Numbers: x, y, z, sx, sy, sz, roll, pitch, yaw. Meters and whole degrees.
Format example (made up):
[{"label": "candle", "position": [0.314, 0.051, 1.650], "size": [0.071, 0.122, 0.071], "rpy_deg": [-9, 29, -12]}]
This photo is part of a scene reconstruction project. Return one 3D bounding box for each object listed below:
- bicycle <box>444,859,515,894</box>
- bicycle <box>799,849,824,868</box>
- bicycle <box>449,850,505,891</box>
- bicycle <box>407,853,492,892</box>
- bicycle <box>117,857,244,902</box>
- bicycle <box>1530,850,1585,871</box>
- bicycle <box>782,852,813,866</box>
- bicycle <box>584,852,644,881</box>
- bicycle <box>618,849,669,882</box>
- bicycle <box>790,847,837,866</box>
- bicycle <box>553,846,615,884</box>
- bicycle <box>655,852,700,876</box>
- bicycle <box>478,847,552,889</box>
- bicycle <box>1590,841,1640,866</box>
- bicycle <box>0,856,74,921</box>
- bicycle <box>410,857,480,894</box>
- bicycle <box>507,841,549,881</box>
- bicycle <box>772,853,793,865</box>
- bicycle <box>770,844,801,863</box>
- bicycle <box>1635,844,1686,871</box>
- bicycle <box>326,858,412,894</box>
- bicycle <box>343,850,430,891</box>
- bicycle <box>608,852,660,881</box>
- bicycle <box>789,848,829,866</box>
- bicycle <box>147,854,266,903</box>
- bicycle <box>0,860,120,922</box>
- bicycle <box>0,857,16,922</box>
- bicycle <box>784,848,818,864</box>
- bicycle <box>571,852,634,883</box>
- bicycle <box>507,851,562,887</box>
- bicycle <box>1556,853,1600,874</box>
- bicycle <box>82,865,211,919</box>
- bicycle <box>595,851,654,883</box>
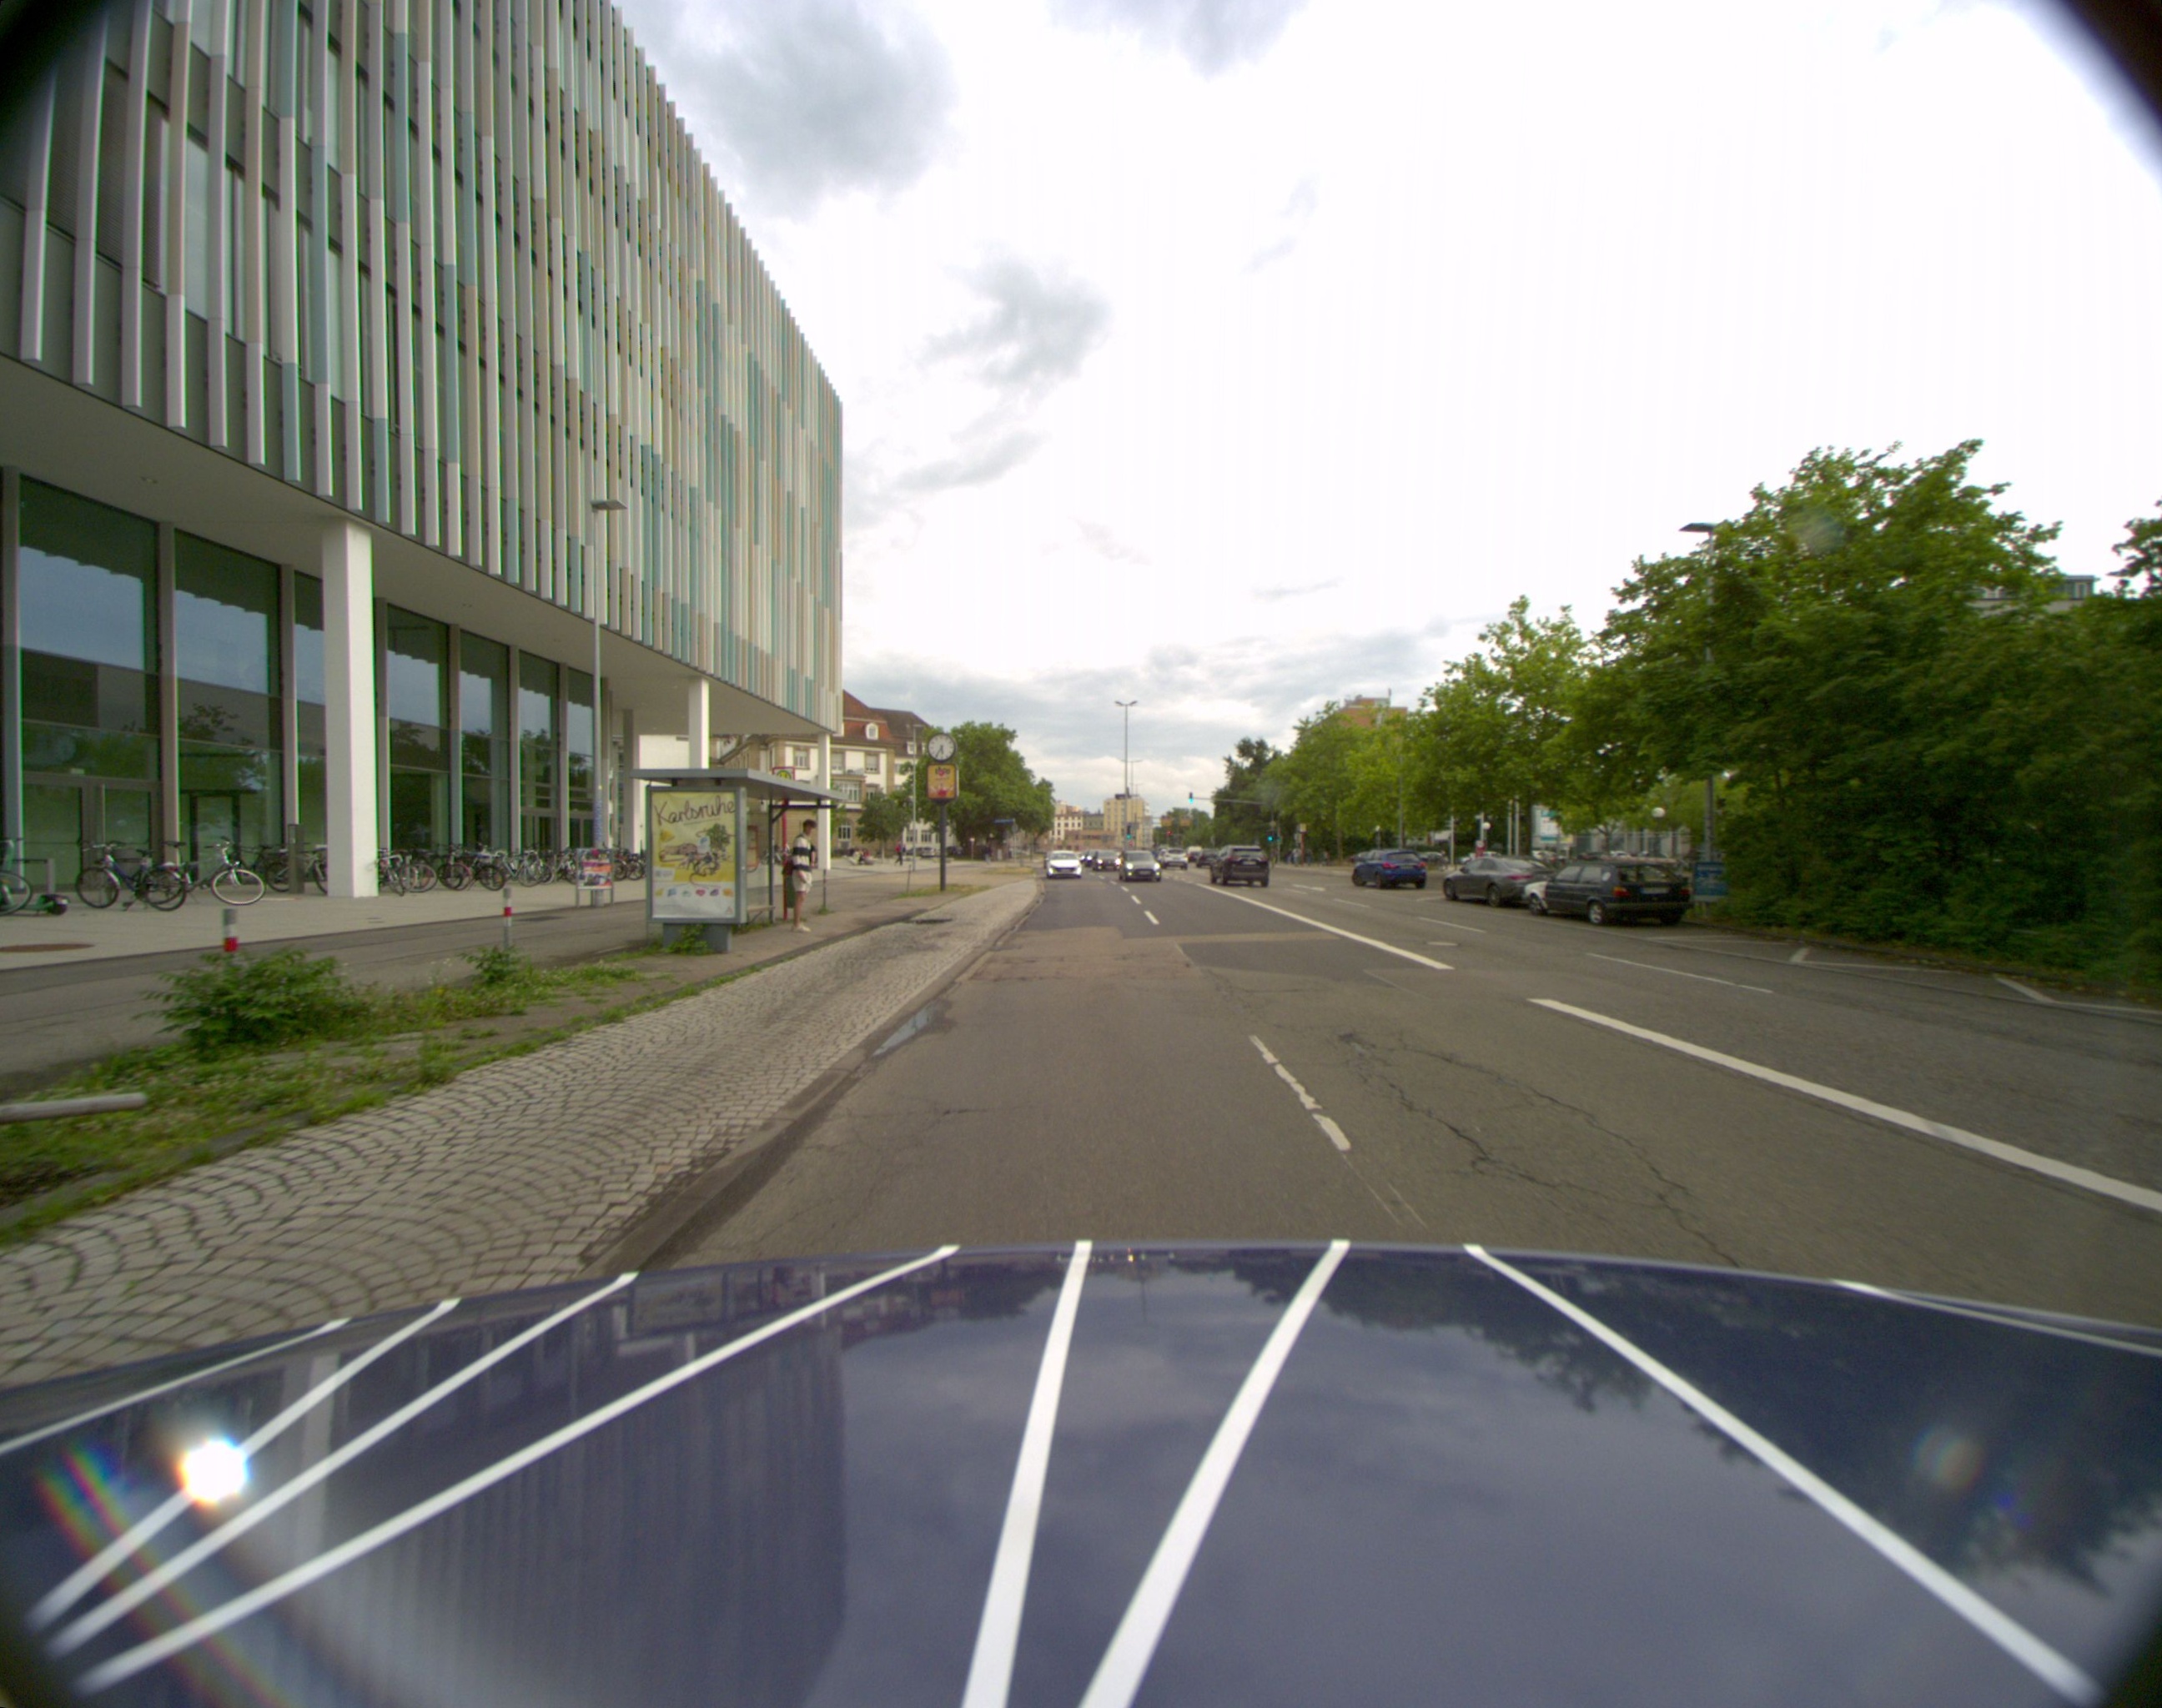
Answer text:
[{"label": "bicycle", "position": [-15.944, 0.598, 20.166], "size": [1.610, 0.891, 0.366], "rpy_deg": [0, 1, 2]}, {"label": "bicycle", "position": [-15.806, 0.244, 44.614], "size": [0.640, 1.055, 1.841], "rpy_deg": [-2, 1, 6]}, {"label": "bicycle", "position": [-15.902, 0.434, 20.018], "size": [1.200, 1.044, 0.434], "rpy_deg": [1, 1, 8]}, {"label": "bicycle", "position": [-15.106, 0.437, 18.191], "size": [1.610, 0.870, 0.556], "rpy_deg": [1, 1, 2]}, {"label": "bicycle", "position": [-15.548, 0.436, 13.140], "size": [1.564, 0.712, 0.556], "rpy_deg": [1, 1, 2]}, {"label": "bicycle", "position": [27.249, 0.378, 43.471], "size": [2.754, 1.168, 0.721], "rpy_deg": [0, 1, -3]}, {"label": "bicycle", "position": [-18.978, 0.328, 50.888], "size": [0.670, 0.893, 1.850], "rpy_deg": [1, 1, 42]}, {"label": "bicycle", "position": [-15.211, 0.410, 24.778], "size": [1.610, 0.870, 0.556], "rpy_deg": [2, 1, 2]}, {"label": "bicycle", "position": [-14.929, 0.389, 25.939], "size": [1.403, 1.037, 0.559], "rpy_deg": [2, 1, 2]}, {"label": "bicycle", "position": [-16.967, 0.162, 48.187], "size": [2.725, 1.181, 0.772], "rpy_deg": [0, 1, -41]}, {"label": "bicycle", "position": [-15.550, 0.325, 23.798], "size": [1.647, 1.085, 0.572], "rpy_deg": [3, 1, 10]}, {"label": "bicycle", "position": [-15.946, 0.395, 30.032], "size": [1.491, 0.924, 0.439], "rpy_deg": [1, 1, -38]}, {"label": "bicycle", "position": [-15.685, 0.384, 21.078], "size": [1.648, 1.095, 0.572], "rpy_deg": [2, 1, 4]}, {"label": "bicycle", "position": [33.472, -0.024, 47.626], "size": [2.667, 1.550, 0.922], "rpy_deg": [0, 1, -9]}, {"label": "bicycle", "position": [-15.387, 0.467, 10.738], "size": [1.610, 0.870, 0.556], "rpy_deg": [1, 1, 2]}, {"label": "bicycle", "position": [-15.780, 0.532, 18.869], "size": [1.286, 0.870, 0.556], "rpy_deg": [1, 1, 2]}, {"label": "bicycle", "position": [-17.301, 0.208, 23.751], "size": [1.981, 1.138, 0.650], "rpy_deg": [3, 1, 42]}, {"label": "bicycle", "position": [-22.505, 0.352, 57.212], "size": [1.360, 0.893, 0.541], "rpy_deg": [0, 1, -43]}, {"label": "bicycle", "position": [-20.885, -0.041, 53.817], "size": [2.010, 1.298, 0.644], "rpy_deg": [2, -1, -20]}, {"label": "bicycle", "position": [34.336, 0.207, 45.027], "size": [2.452, 1.550, 0.922], "rpy_deg": [0, 1, -9]}, {"label": "bicycle", "position": [-16.016, 0.488, 17.116], "size": [1.438, 0.741, 0.556], "rpy_deg": [1, 1, 2]}, {"label": "bicycle", "position": [-16.200, 0.379, 17.732], "size": [1.695, 0.941, 0.516], "rpy_deg": [0, 1, 8]}, {"label": "bicycle", "position": [-15.805, 0.450, 26.874], "size": [1.608, 0.930, 0.569], "rpy_deg": [3, 0, 12]}, {"label": "bicycle", "position": [-16.727, 0.174, 46.780], "size": [2.188, 1.109, 0.734], "rpy_deg": [0, 1, -42]}, {"label": "bicycle", "position": [-15.763, 0.441, 13.718], "size": [1.536, 0.829, 0.556], "rpy_deg": [1, 1, 2]}, {"label": "bicycle", "position": [-15.459, 0.539, 11.325], "size": [1.610, 0.870, 0.556], "rpy_deg": [1, 1, 2]}, {"label": "bicycle", "position": [-15.406, 0.471, 10.154], "size": [1.610, 0.870, 0.556], "rpy_deg": [1, 1, 2]}, {"label": "bicycle", "position": [-18.488, 0.132, 50.160], "size": [1.964, 0.996, 0.772], "rpy_deg": [0, 1, -41]}, {"label": "bicycle", "position": [-15.206, 0.421, 24.155], "size": [1.610, 0.870, 0.556], "rpy_deg": [4, 1, 3]}, {"label": "bicycle", "position": [-15.811, 0.438, 22.002], "size": [1.245, 1.002, 0.550], "rpy_deg": [1, 1, 6]}, {"label": "bicycle", "position": [33.066, 0.613, 50.567], "size": [2.491, 1.346, 0.721], "rpy_deg": [0, 1, -3]}, {"label": "bicycle", "position": [-15.280, 0.612, 12.438], "size": [1.458, 0.834, 0.556], "rpy_deg": [1, 1, 2]}, {"label": "bicycle", "position": [-15.238, 0.428, 25.377], "size": [1.610, 0.977, 0.556], "rpy_deg": [3, 1, 2]}]
